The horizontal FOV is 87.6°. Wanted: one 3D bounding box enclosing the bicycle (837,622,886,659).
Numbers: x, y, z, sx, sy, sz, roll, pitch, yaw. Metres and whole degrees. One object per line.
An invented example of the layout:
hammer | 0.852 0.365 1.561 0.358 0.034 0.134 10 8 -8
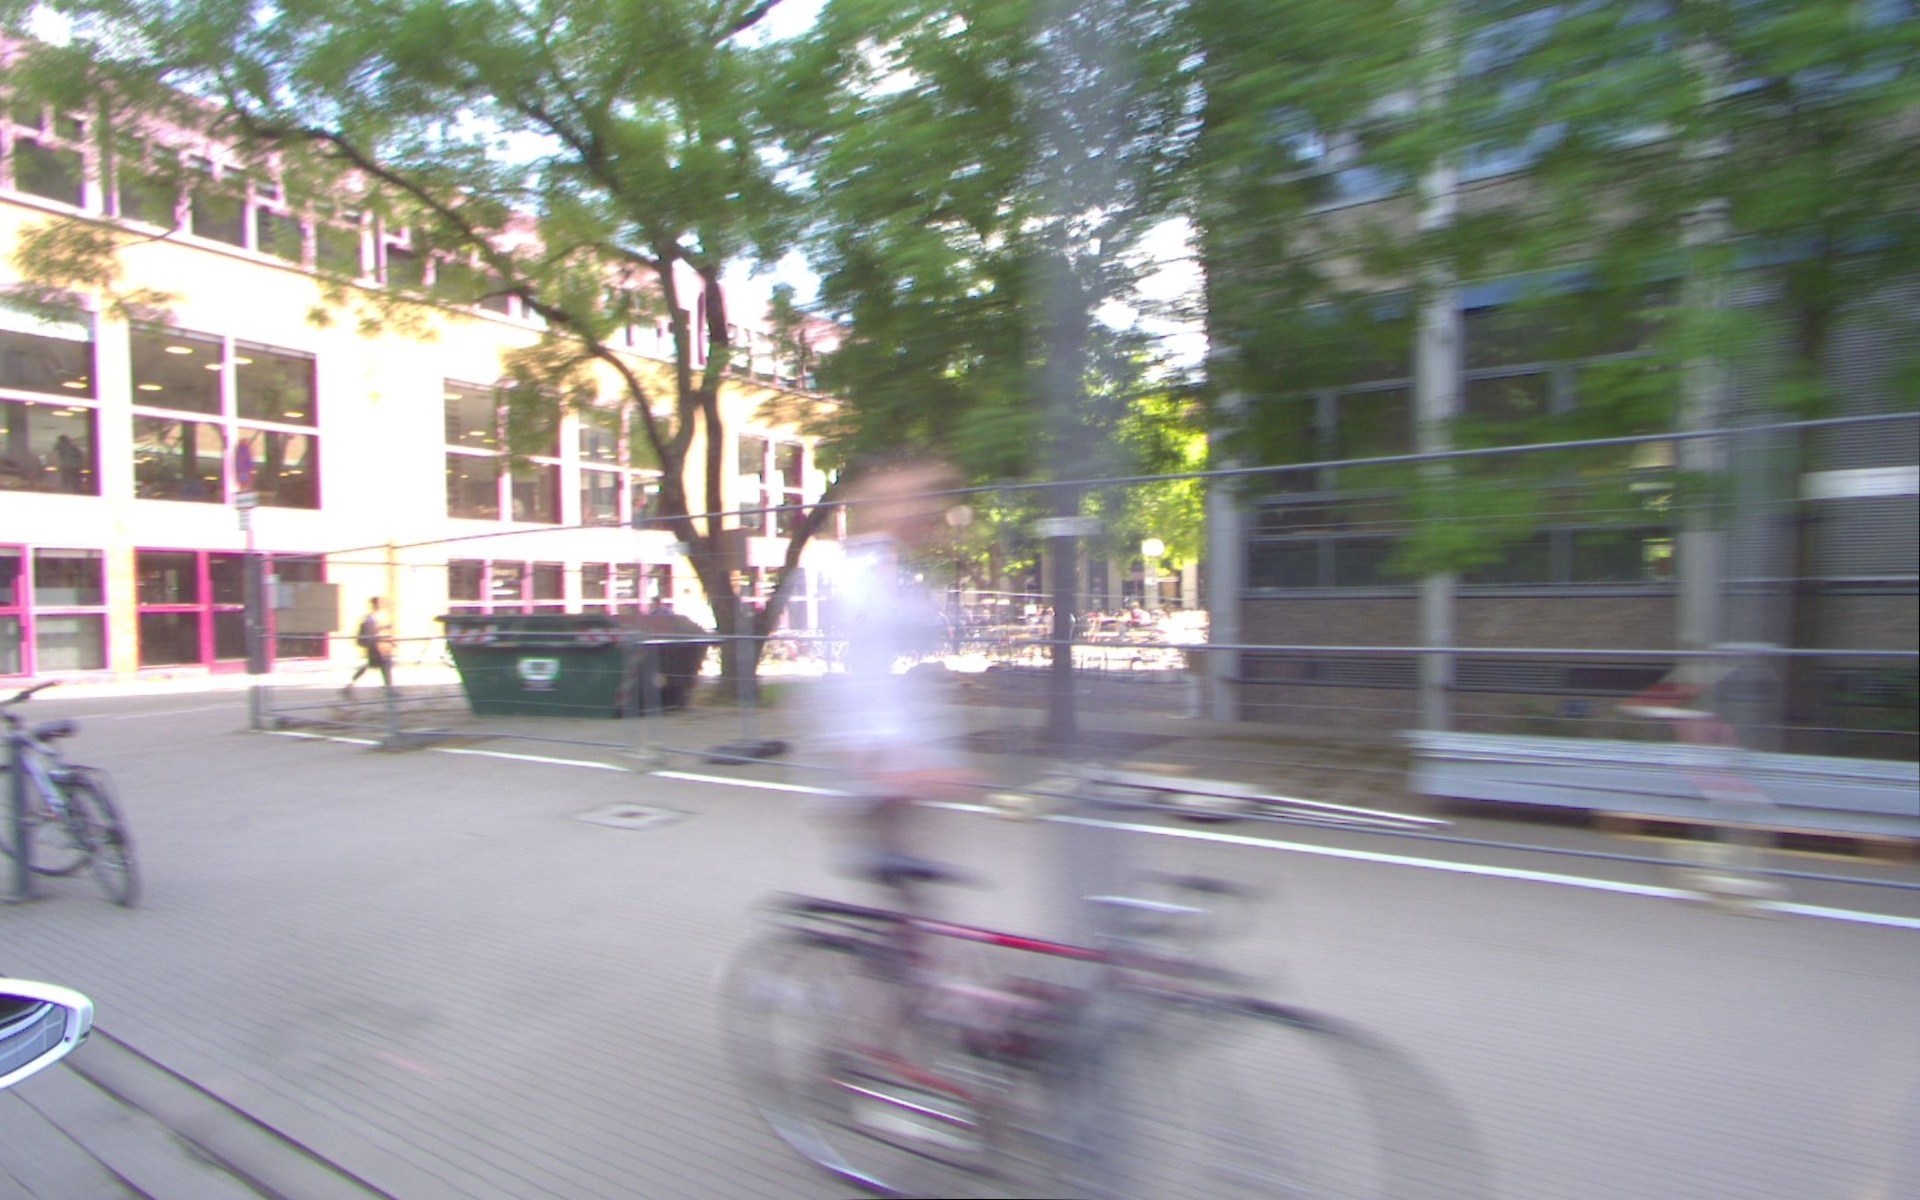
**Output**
bicycle | -3.260 1.348 33.259 0.537 1.184 1.994 0 -2 31

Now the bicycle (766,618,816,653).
bicycle | -5.873 1.239 34.915 0.537 1.184 1.994 0 -2 31

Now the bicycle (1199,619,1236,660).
bicycle | 7.762 1.183 30.110 0.537 1.184 1.994 0 -2 31

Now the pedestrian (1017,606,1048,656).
pedestrian | 2.595 1.095 35.749 0.676 1.750 0.898 -3 -1 37

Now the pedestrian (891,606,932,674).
pedestrian | -1.291 1.056 26.727 0.674 1.750 0.901 -3 -1 27

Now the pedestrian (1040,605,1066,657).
pedestrian | 3.209 1.076 34.517 0.672 1.750 0.903 -3 -1 17

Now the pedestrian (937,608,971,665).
pedestrian | -0.181 1.141 31.347 0.674 1.750 0.901 -3 -1 27

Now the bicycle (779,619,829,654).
bicycle | -5.333 1.246 34.355 0.537 1.184 1.994 0 -2 31

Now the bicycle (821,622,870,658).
bicycle | -3.821 1.335 33.562 0.537 1.184 1.994 0 -2 31

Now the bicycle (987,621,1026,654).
bicycle | 1.727 1.382 36.602 0.537 1.184 1.994 0 -2 31

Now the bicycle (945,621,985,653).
bicycle | 0.199 1.386 37.473 0.537 1.184 1.994 0 -2 31

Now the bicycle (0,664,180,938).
bicycle | -4.702 0.910 5.012 1.723 1.107 0.707 -1 0 32

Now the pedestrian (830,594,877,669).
pedestrian | -2.552 0.755 24.107 0.674 1.750 0.901 -3 -1 27

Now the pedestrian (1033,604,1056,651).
pedestrian | 3.216 1.035 38.141 0.672 1.751 0.904 1 0 15

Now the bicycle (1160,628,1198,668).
bicycle | 6.752 1.457 30.799 0.537 1.184 1.994 0 -2 31

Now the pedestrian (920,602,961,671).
pedestrian | -0.508 0.958 26.403 0.674 1.750 0.901 -3 -1 27

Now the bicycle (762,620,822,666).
bicycle | -4.489 1.154 26.877 0.468 1.184 1.801 0 -2 35

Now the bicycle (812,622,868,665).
bicycle | -3.410 1.231 28.574 0.467 1.184 1.994 0 -2 31

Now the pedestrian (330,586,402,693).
pedestrian | -9.536 0.628 16.078 0.581 1.672 0.848 -1 -1 39

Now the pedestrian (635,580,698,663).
pedestrian | -6.060 0.449 20.677 0.695 1.672 1.040 -1 -1 39

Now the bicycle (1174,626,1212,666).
bicycle | 7.135 1.387 30.558 0.537 1.184 1.994 0 -2 31

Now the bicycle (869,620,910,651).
bicycle | -2.774 1.418 39.522 0.537 1.184 1.994 0 -2 31

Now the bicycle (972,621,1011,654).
bicycle | 1.173 1.394 37.126 0.537 1.184 1.994 0 -2 31

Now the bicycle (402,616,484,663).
bicycle | -12.781 0.966 24.821 0.516 1.124 1.807 0 -2 30

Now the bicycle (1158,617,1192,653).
bicycle | 7.335 1.196 34.134 0.537 1.184 1.994 0 -2 31

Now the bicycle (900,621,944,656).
bicycle | -1.299 1.330 34.661 0.537 1.184 1.994 0 -2 31

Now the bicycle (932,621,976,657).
bicycle | -0.187 1.323 34.073 0.537 1.184 1.994 0 -2 31

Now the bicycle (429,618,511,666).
bicycle | -12.006 1.025 24.587 0.516 1.124 1.807 0 -2 31

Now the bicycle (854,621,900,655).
bicycle | -2.931 1.345 35.494 0.537 1.184 1.994 0 -2 31

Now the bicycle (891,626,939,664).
bicycle | -1.433 1.433 32.144 0.537 1.184 1.994 0 -2 31

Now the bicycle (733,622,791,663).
bicycle | -5.878 1.270 29.836 0.467 1.184 1.994 0 -2 31

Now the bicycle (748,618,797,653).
bicycle | -6.606 1.250 35.370 0.537 1.184 1.995 0 -2 29

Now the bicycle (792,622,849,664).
bicycle | -3.993 1.229 28.781 0.467 1.184 1.994 0 -2 31

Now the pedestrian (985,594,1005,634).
pedestrian | 1.666 0.661 47.375 0.672 1.846 0.903 -3 -1 17

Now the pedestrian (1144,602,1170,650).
pedestrian | 7.369 0.979 37.458 0.674 1.750 0.901 -3 -1 27

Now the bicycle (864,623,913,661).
bicycle | -2.275 1.330 32.155 0.537 1.184 1.994 0 -2 31

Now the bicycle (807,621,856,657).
bicycle | -4.326 1.321 33.840 0.537 1.184 1.994 0 -2 31

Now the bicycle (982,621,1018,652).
bicycle | 1.583 1.451 39.476 0.537 1.184 1.994 0 -2 31

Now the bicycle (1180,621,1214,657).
bicycle | 8.021 1.320 33.831 0.537 1.184 1.994 0 -2 31

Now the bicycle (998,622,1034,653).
bicycle | 2.200 1.453 39.120 0.537 1.184 1.994 0 -2 31

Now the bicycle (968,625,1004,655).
bicycle | 1.048 1.585 39.907 0.537 1.184 1.994 0 -2 31

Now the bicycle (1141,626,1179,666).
bicycle | 6.223 1.423 31.075 0.537 1.184 1.994 0 -2 31

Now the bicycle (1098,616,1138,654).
bicycle | 5.005 1.110 31.672 0.537 1.184 1.994 0 -2 31

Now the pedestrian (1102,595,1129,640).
pedestrian | 6.577 0.742 42.368 0.673 1.846 0.902 -2 -1 -23

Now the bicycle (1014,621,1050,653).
bicycle | 2.785 1.434 38.655 0.537 1.184 1.994 0 -2 31

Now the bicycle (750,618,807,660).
bicycle | -5.352 1.158 29.700 0.467 1.184 1.994 0 -2 31

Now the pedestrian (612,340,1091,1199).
pedestrian | -0.210 0.378 2.647 1.096 1.869 0.786 0 -1 8

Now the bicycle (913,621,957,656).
bicycle | -0.832 1.319 34.335 0.537 1.184 1.994 0 -2 31

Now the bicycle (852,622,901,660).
bicycle | -2.698 1.326 32.600 0.537 1.184 1.994 0 -2 31

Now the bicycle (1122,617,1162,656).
bicycle | 5.710 1.137 31.346 0.537 1.184 1.994 0 -2 31

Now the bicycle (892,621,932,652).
bicycle | -1.840 1.418 39.023 0.537 1.184 1.994 0 -2 31

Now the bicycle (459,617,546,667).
bicycle | -10.555 0.961 23.155 0.517 1.124 1.804 -1 -2 35

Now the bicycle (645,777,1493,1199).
bicycle | 0.111 0.936 2.041 1.707 0.949 0.394 -1 2 32

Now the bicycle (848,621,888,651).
bicycle | -3.674 1.445 40.212 0.537 1.184 1.994 0 -2 31

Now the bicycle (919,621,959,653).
bicycle | -0.777 1.414 38.300 0.537 1.184 1.994 0 -2 31

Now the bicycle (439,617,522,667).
bicycle | -11.321 0.988 23.712 0.516 1.124 1.808 0 -2 29

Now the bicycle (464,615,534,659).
bicycle | -12.387 0.991 26.954 0.466 1.124 1.806 0 -1 26

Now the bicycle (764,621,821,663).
bicycle | -4.887 1.235 29.354 0.467 1.184 1.994 0 -2 31

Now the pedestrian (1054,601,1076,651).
pedestrian | 3.971 0.981 37.845 0.672 1.847 0.903 0 0 17
